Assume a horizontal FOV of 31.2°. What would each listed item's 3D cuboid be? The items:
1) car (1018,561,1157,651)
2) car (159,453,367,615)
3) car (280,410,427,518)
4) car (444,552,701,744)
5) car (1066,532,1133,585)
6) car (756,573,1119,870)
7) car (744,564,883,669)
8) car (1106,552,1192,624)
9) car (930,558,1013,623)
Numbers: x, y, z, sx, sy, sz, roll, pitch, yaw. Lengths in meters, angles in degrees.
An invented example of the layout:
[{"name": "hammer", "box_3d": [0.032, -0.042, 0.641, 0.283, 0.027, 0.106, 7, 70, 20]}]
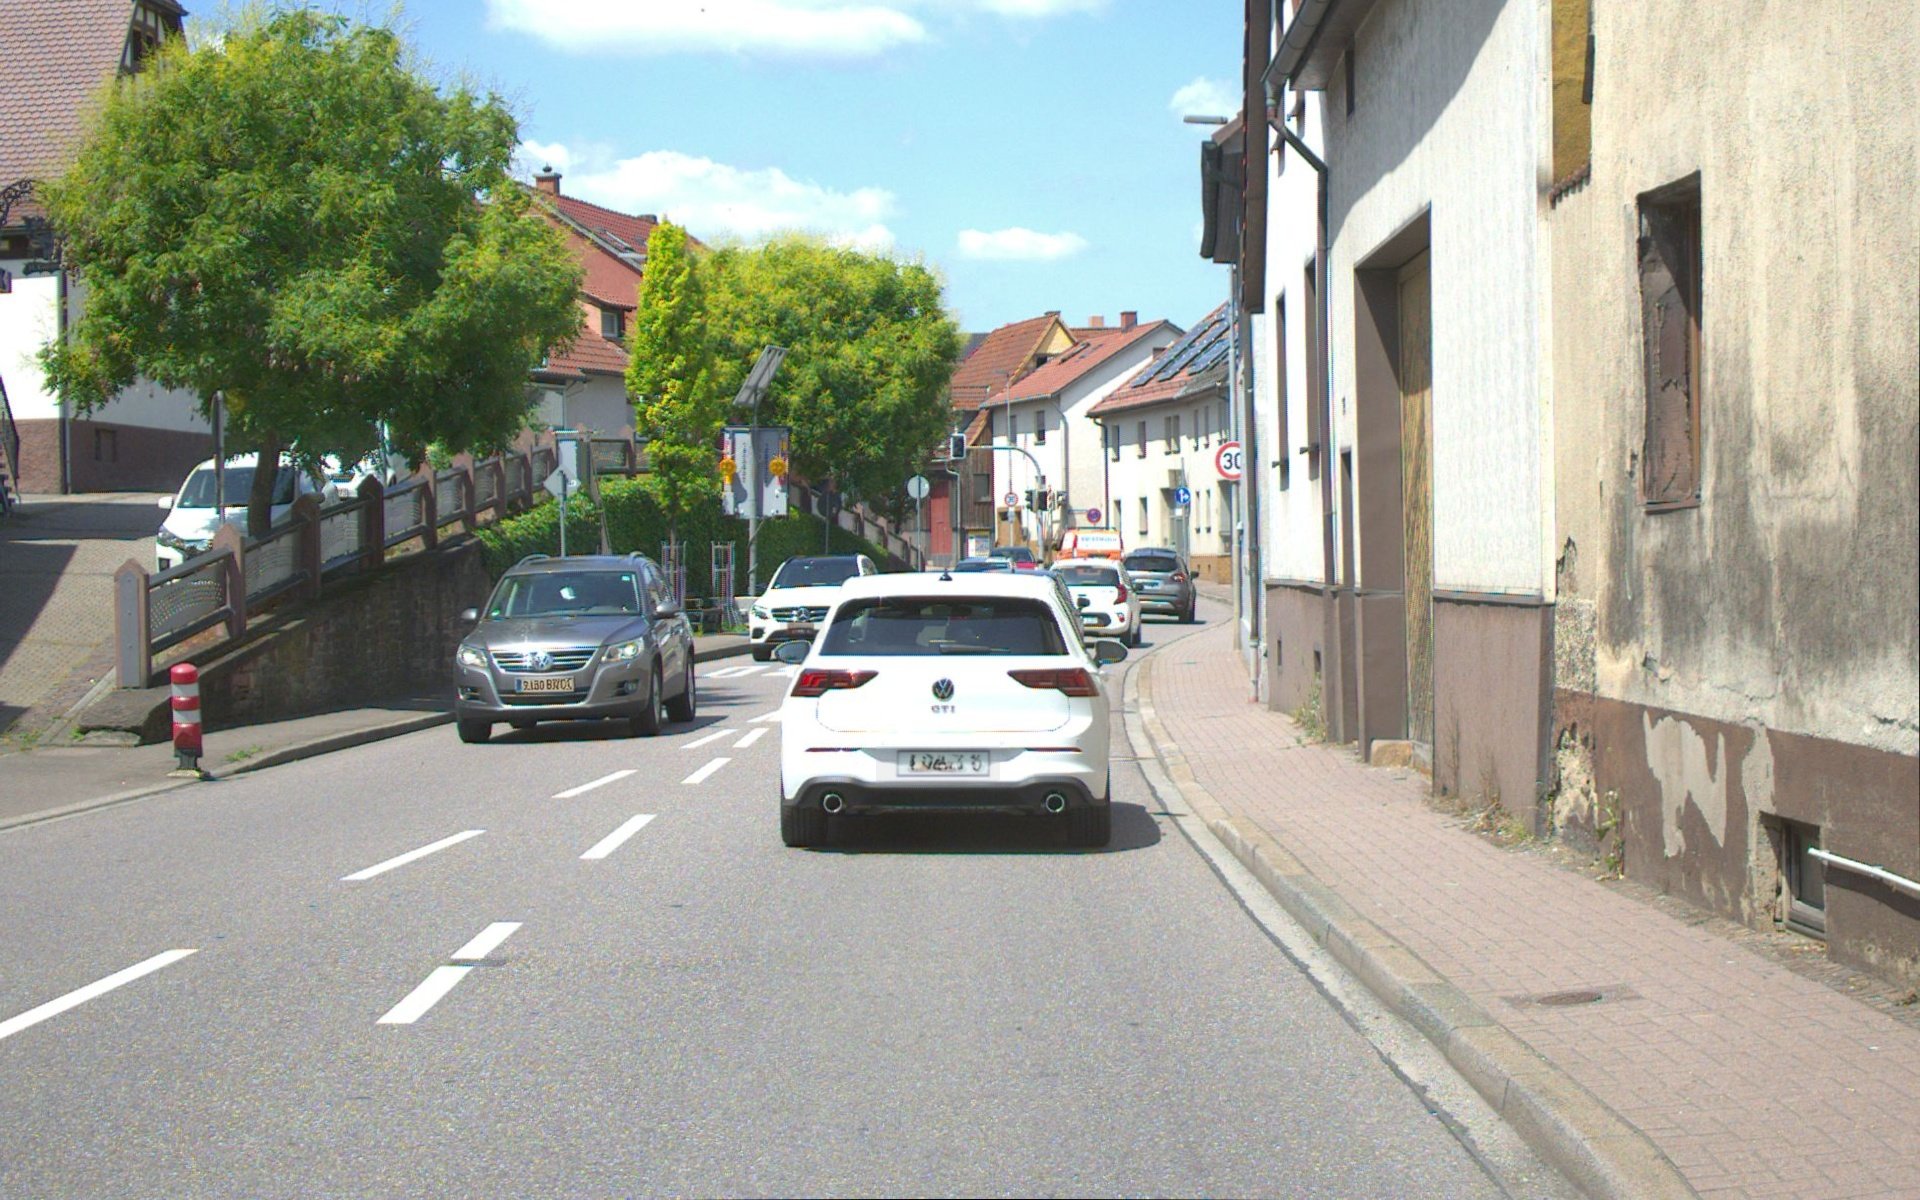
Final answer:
[{"name": "car", "box_3d": [2.216, 0.091, 58.897, 1.808, 1.462, 3.998, 1, 1, 10]}, {"name": "car", "box_3d": [-8.170, -0.823, 40.594, 1.693, 1.537, 3.857, -1, 6, -1]}, {"name": "car", "box_3d": [-9.214, -2.105, 52.463, 1.576, 1.357, 3.857, -1, 6, -1]}, {"name": "car", "box_3d": [-3.539, 0.391, 32.043, 1.758, 1.630, 4.049, -1, 1, 2]}, {"name": "car", "box_3d": [4.762, -1.438, 117.953, 1.775, 1.759, 4.001, -1, 1, -5]}, {"name": "car", "box_3d": [-0.070, 0.595, 19.318, 1.808, 1.462, 4.000, 1, 1, 1]}, {"name": "car", "box_3d": [-2.318, 0.235, 55.416, 1.842, 1.574, 4.445, -2, 1, 2]}, {"name": "car", "box_3d": [4.226, -0.295, 77.219, 1.775, 1.533, 4.000, -1, 1, 1]}, {"name": "car", "box_3d": [0.299, -0.246, 81.138, 1.813, 1.442, 4.430, -2, 1, 2]}]
